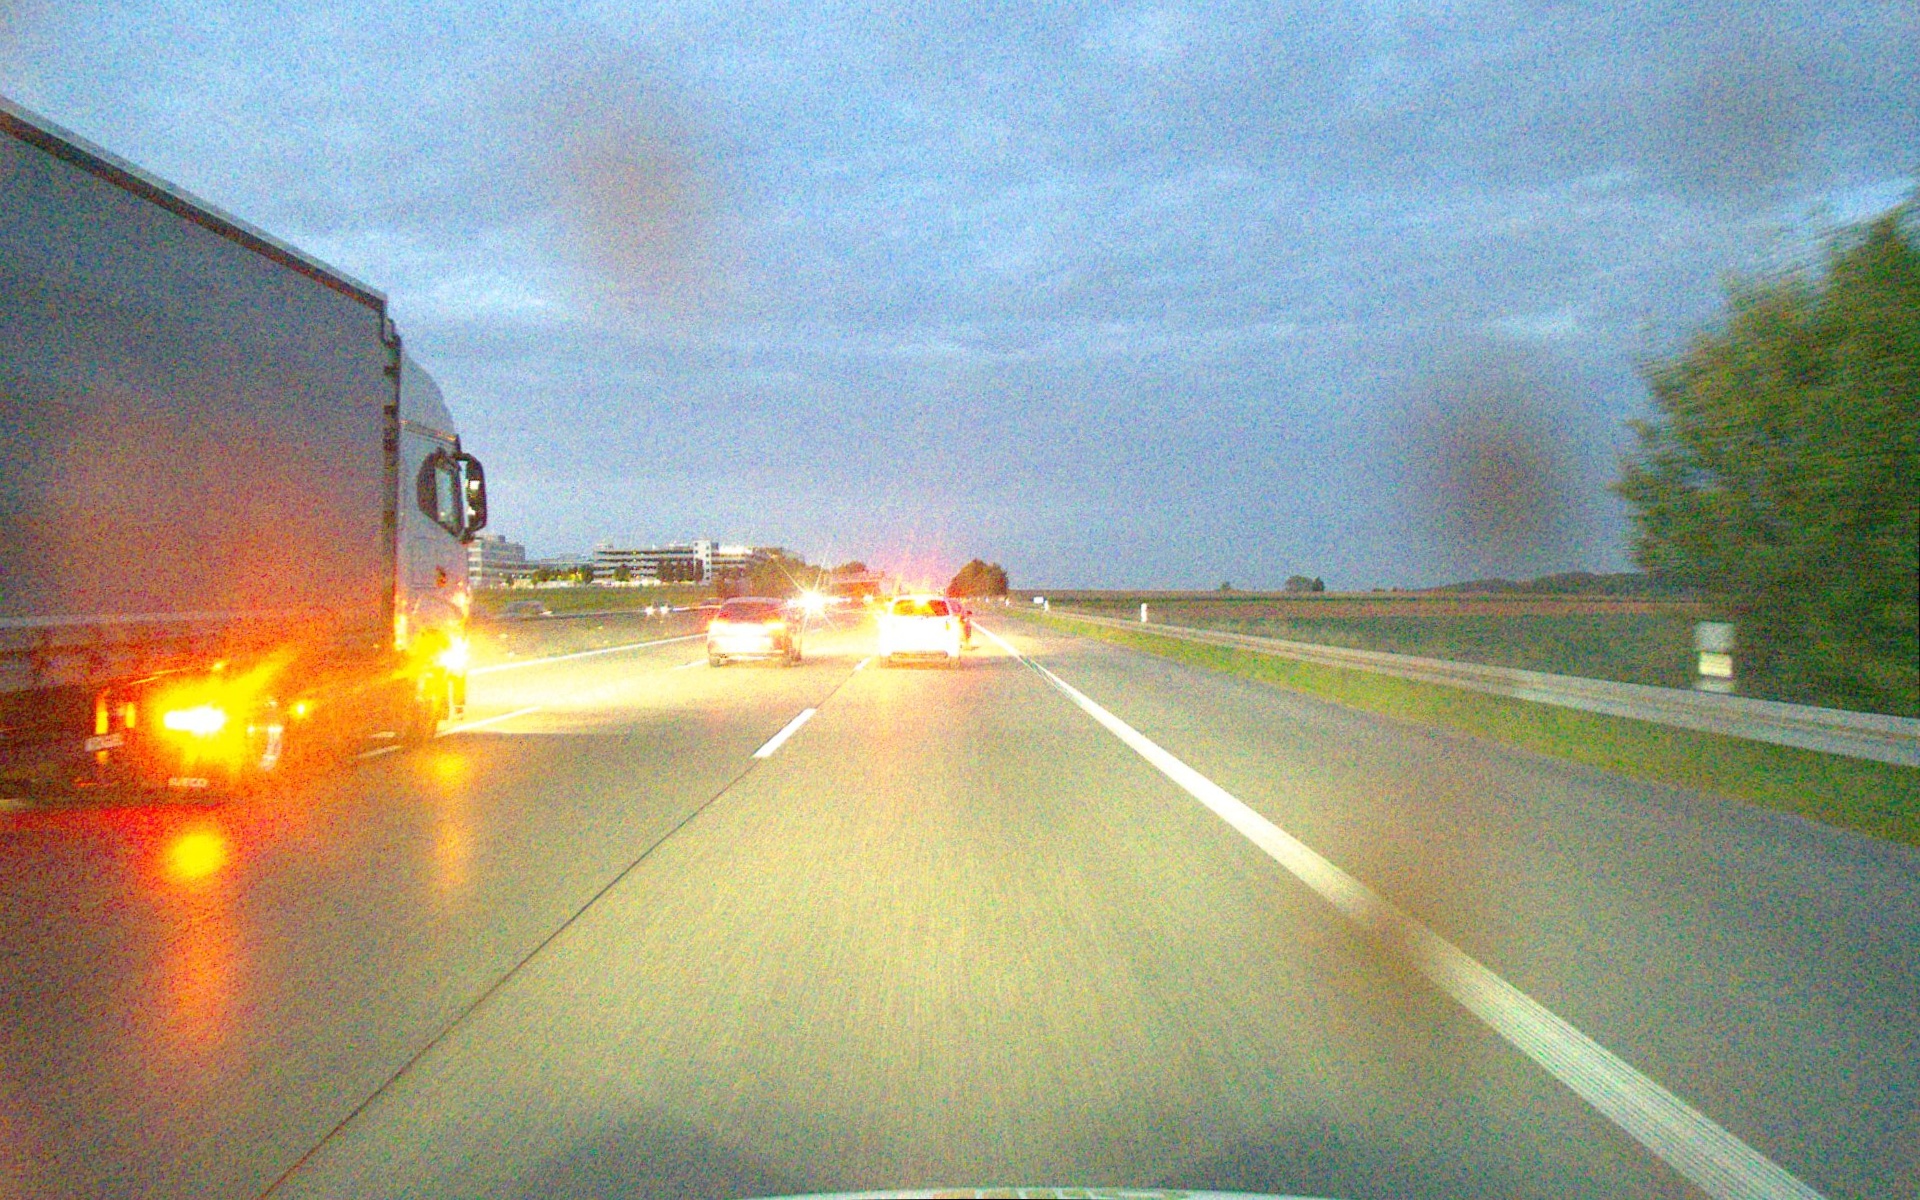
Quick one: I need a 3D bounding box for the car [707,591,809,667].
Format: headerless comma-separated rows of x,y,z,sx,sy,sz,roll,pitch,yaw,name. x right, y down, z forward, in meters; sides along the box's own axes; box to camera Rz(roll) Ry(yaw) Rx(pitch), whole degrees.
-4.253,0.597,35.479,1.688,1.497,4.724,1,0,-1,car

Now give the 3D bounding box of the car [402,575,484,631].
-23.538,0.149,75.570,1.953,2.429,5.835,1,-1,-1,car

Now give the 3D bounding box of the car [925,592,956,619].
-1.205,0.350,101.793,1.842,1.579,3.998,1,-1,-2,car

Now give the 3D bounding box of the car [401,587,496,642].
-16.322,0.463,53.004,1.664,1.645,4.625,1,0,-1,car

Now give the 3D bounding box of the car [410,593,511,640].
-16.440,0.540,54.656,1.953,1.437,4.658,1,0,-1,car

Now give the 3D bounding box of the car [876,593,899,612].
-5.991,0.221,137.196,1.842,1.579,3.998,1,-1,-2,car

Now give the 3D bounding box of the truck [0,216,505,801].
-6.289,-0.630,14.832,2.721,4.164,6.102,0,-1,0,truck

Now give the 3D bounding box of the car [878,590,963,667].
-0.821,0.604,35.898,1.708,1.551,4.413,1,0,0,car

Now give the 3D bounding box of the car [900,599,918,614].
-6.502,0.876,211.648,2.154,1.912,3.999,1,-1,-1,car

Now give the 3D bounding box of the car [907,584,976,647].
-0.534,0.430,46.571,1.842,1.672,3.999,1,-1,-1,car

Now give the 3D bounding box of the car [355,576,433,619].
-23.330,-0.070,68.337,1.626,1.672,4.793,1,0,-1,car

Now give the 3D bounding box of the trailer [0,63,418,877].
-6.263,-0.665,7.677,2.737,4.157,14.524,0,0,0,trailer
